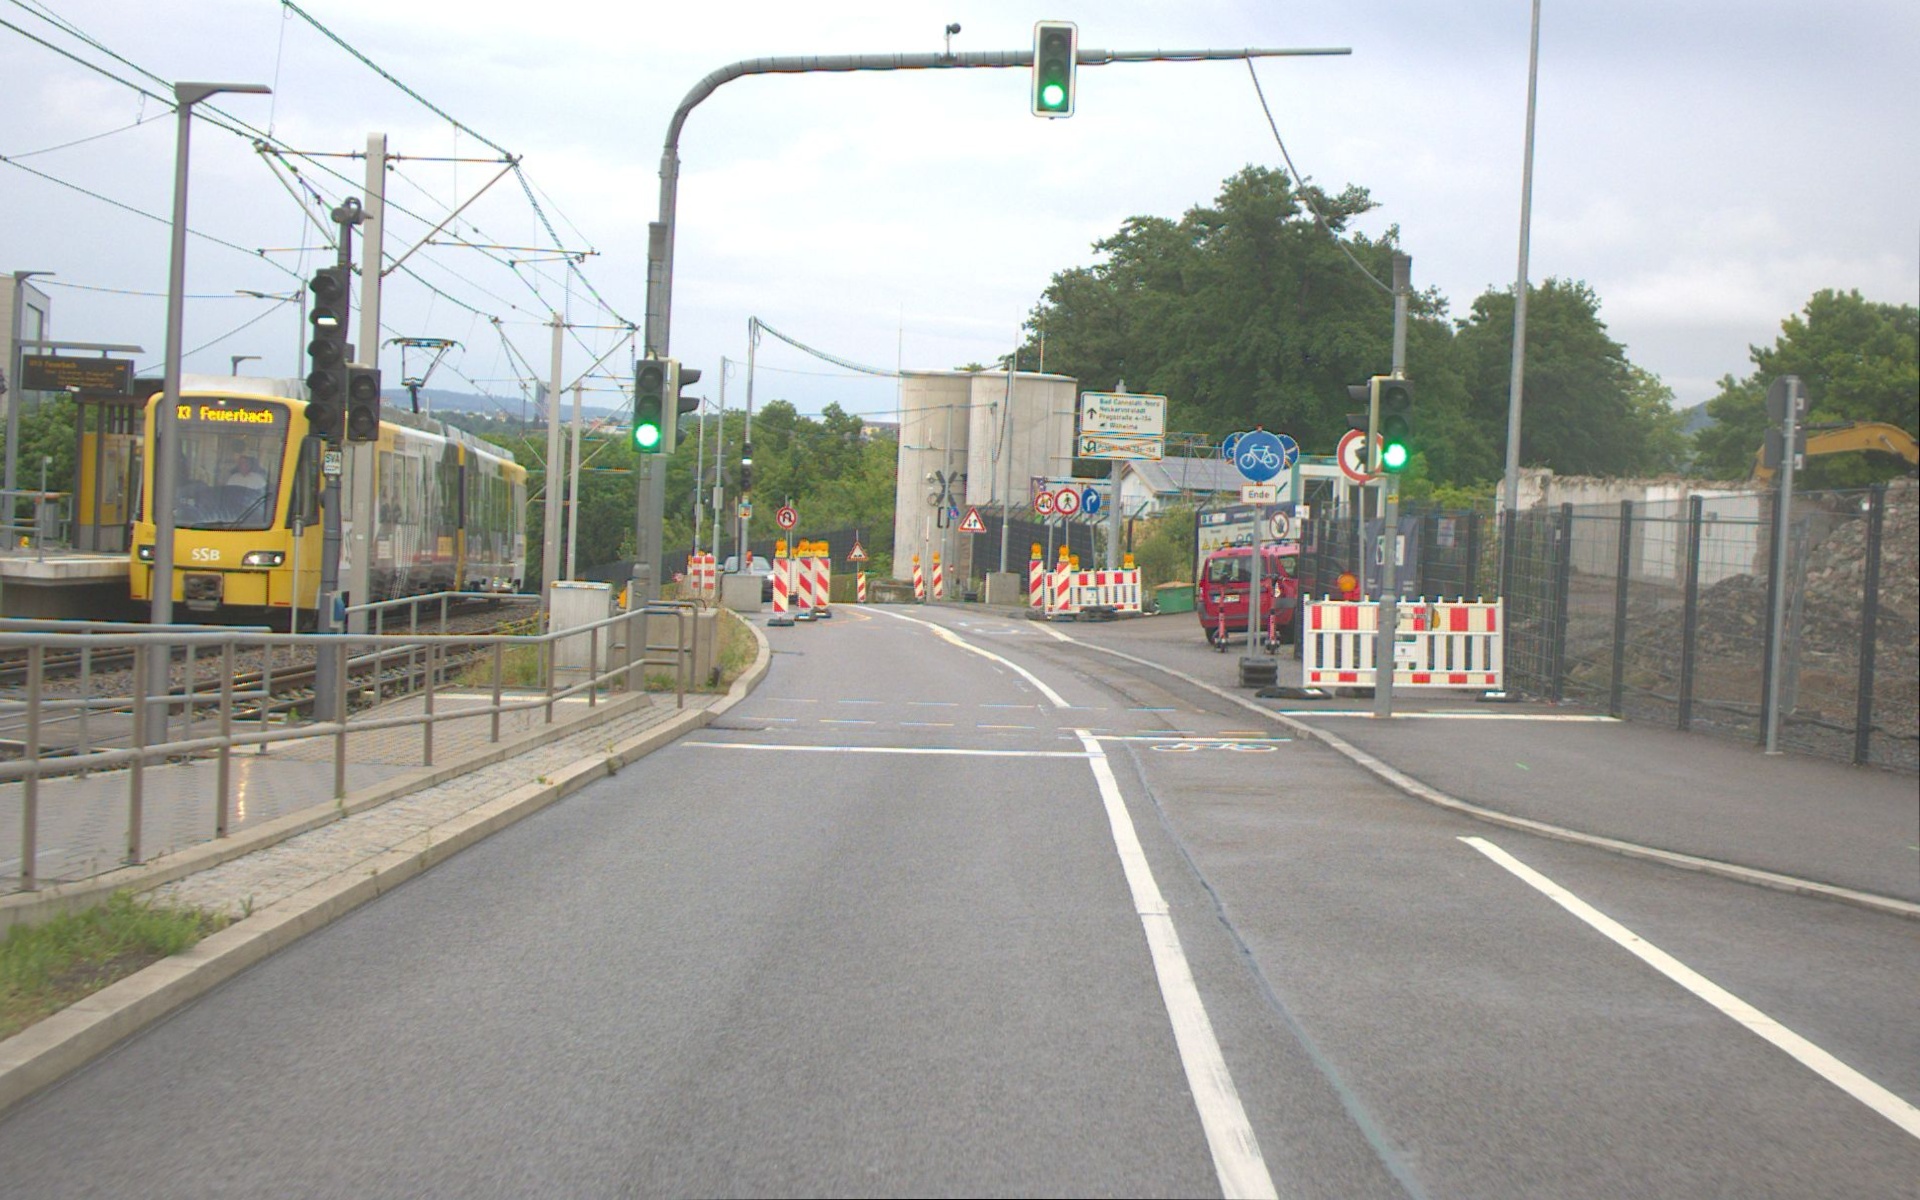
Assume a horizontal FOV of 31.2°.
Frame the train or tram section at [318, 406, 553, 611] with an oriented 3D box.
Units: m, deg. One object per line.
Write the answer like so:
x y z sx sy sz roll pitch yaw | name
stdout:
-11.415 -1.945 77.016 2.955 3.872 19.293 3 1 -3 | train or tram section

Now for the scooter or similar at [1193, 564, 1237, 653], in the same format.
3.973 0.123 53.696 0.615 1.347 1.912 2 1 4 | scooter or similar

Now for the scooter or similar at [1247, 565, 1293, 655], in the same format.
4.823 0.142 53.576 0.615 1.347 1.912 2 1 4 | scooter or similar

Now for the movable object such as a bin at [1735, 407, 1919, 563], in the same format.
36.916 -4.511 137.054 11.234 5.975 3.490 1 0 6 | movable object such as a bin

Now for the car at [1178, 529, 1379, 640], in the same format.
5.533 -0.266 59.292 1.822 1.787 4.402 2 1 28 | car

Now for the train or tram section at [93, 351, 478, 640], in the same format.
-10.753 -1.598 57.630 2.955 3.872 19.574 3 1 -2 | train or tram section
